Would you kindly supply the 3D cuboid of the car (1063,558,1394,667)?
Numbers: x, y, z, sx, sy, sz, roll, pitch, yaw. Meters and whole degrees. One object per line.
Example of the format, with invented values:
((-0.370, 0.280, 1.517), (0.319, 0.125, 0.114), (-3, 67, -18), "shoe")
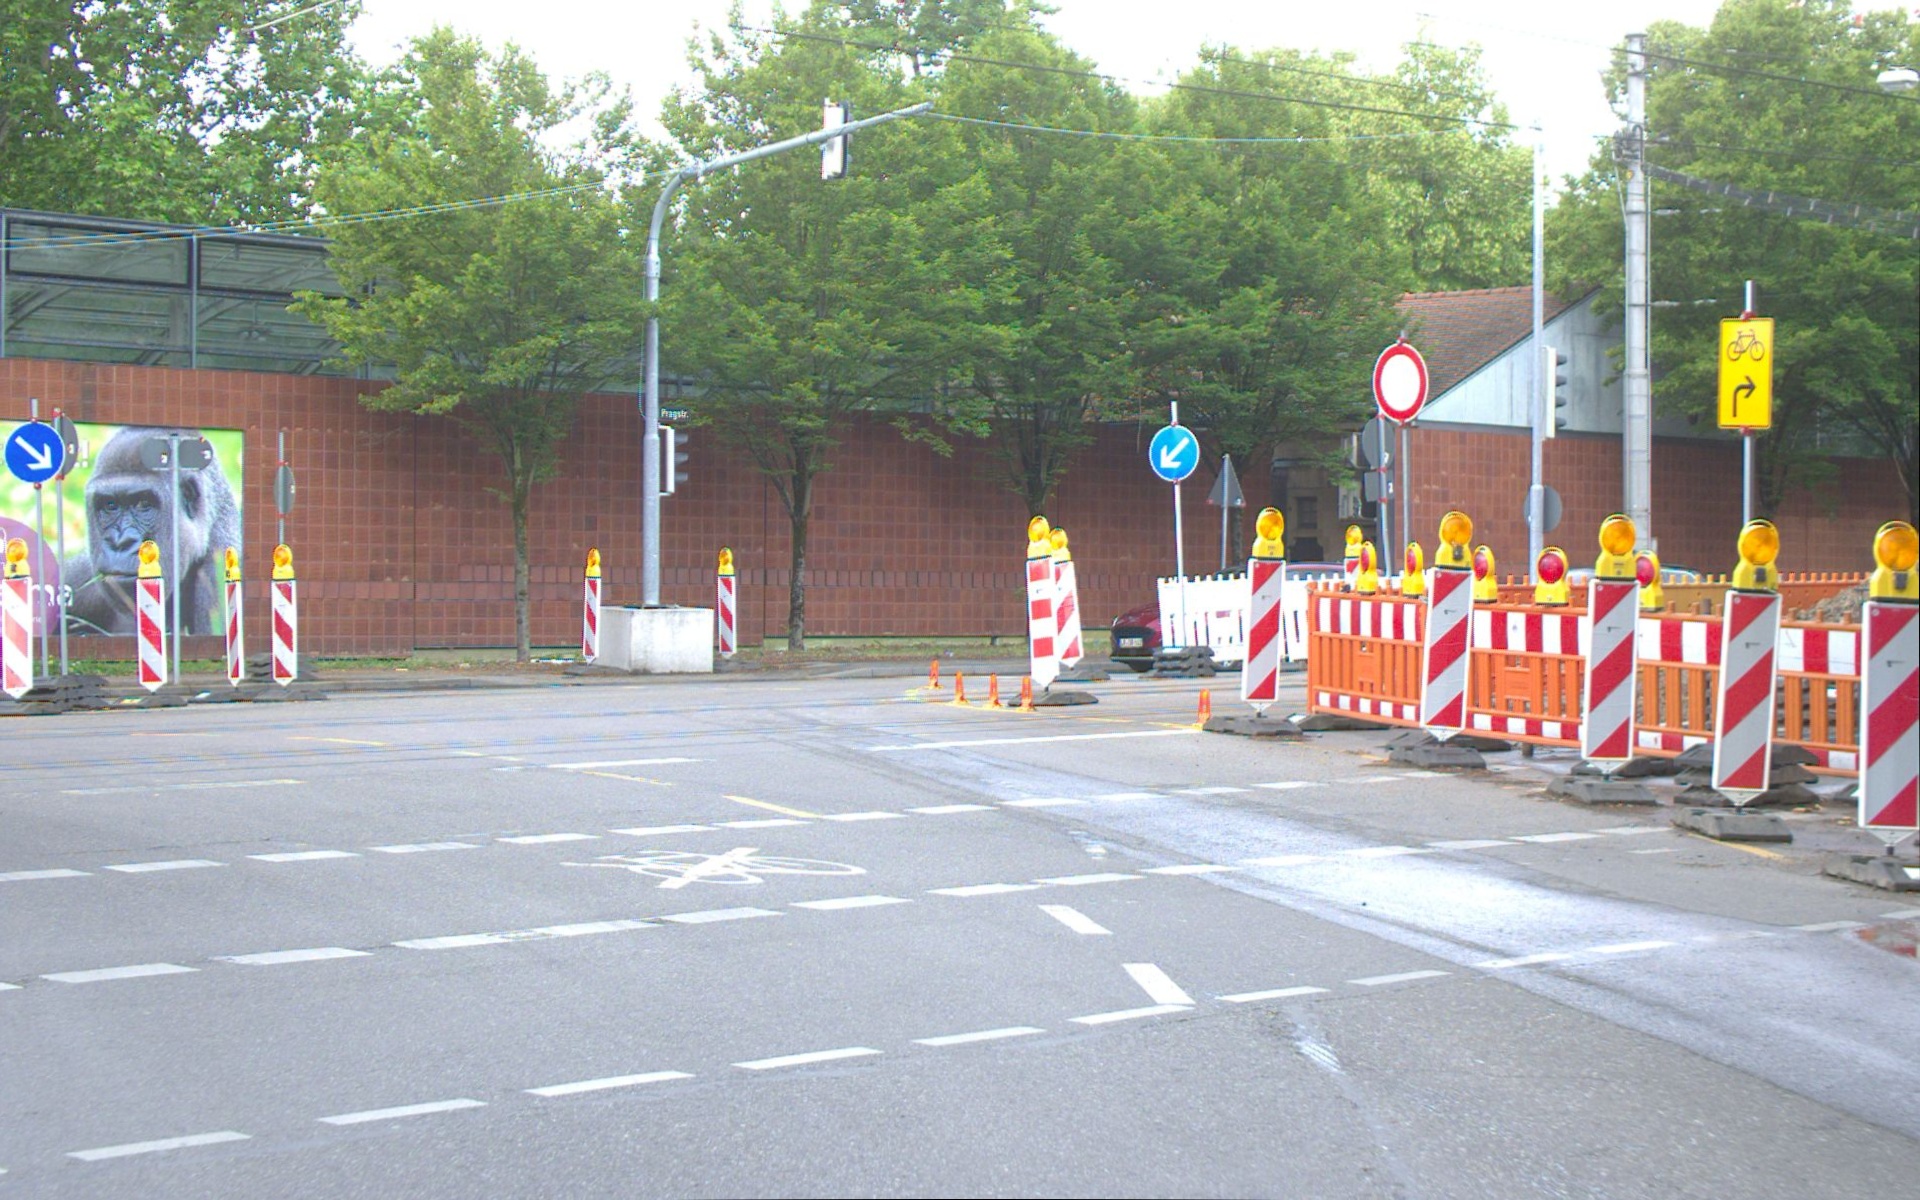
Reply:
((3.769, 0.200, 47.838), (4.445, 1.438, 1.879), (1, -1, -37), "car")
